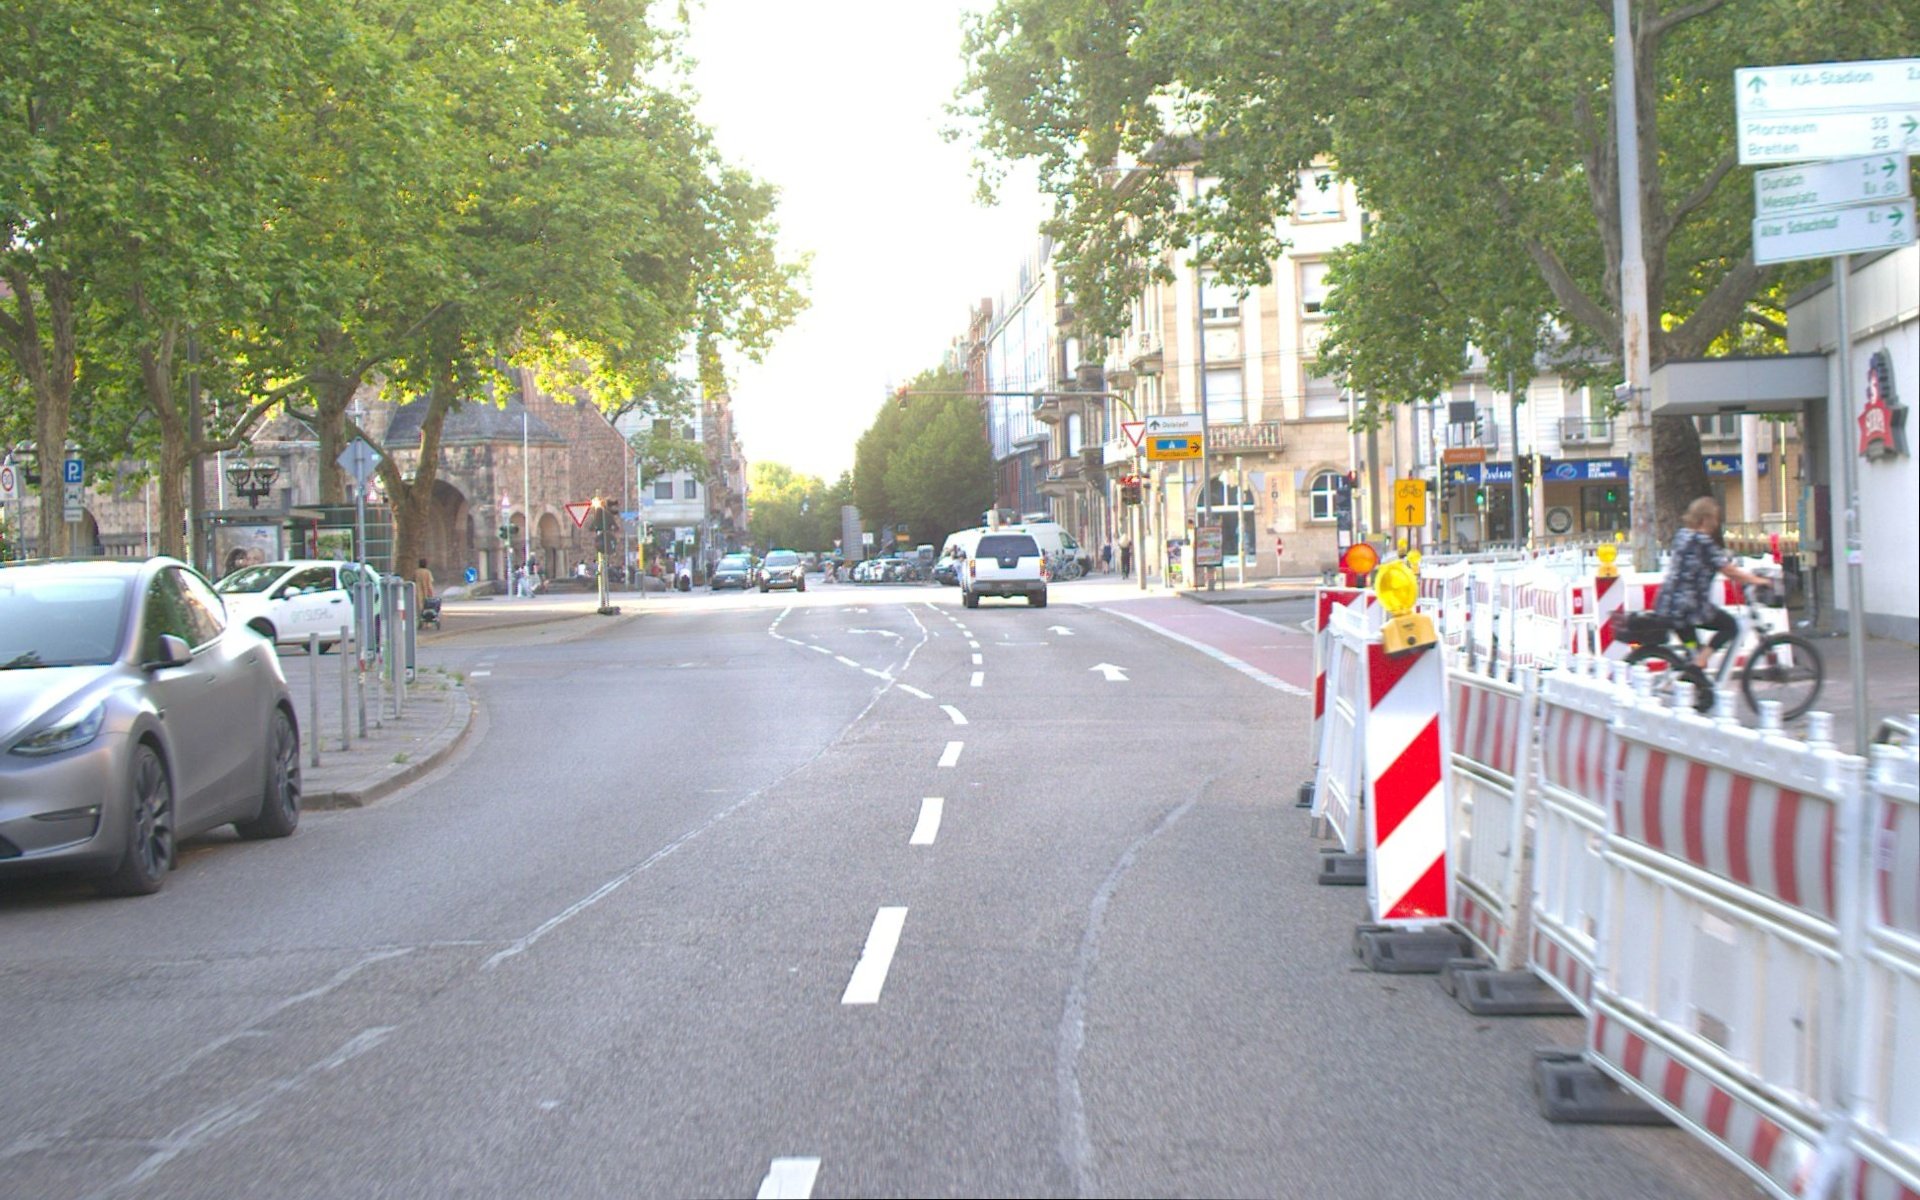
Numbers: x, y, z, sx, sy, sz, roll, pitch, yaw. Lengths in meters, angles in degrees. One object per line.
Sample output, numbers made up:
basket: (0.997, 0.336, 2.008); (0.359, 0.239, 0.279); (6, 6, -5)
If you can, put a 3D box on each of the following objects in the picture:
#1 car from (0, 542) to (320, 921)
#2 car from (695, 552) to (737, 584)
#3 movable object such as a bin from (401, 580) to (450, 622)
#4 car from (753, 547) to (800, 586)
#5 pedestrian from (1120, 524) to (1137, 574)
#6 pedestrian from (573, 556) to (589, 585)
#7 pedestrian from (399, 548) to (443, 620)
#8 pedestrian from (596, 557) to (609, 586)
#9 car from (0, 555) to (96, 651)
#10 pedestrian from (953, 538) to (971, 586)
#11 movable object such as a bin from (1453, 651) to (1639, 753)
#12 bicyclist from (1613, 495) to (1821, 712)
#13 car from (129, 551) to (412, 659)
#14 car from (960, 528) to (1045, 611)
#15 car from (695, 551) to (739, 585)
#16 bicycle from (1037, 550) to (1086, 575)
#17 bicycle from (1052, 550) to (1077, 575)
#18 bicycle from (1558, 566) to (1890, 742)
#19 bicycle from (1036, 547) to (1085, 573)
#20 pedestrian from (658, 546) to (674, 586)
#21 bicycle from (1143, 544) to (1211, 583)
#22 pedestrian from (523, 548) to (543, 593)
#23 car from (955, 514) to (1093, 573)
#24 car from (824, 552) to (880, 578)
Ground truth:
car: (-4.677, 0.576, 17.129); (1.953, 1.611, 4.605); (-4, 1, 1)
car: (-12.611, -1.667, 177.721); (1.993, 1.645, 3.822); (0, 1, -7)
movable object such as a bin: (-12.031, 0.022, 77.429); (0.738, 0.887, 0.982); (-1, 1, 13)
car: (-7.917, -1.428, 148.055); (1.781, 1.645, 3.822); (0, 1, -7)
pedestrian: (6.413, -1.943, 130.525); (0.593, 1.880, 0.647); (-2, 1, 4)
pedestrian: (-16.927, -1.328, 153.593); (0.573, 1.286, 0.486); (-1, 1, 13)
pedestrian: (-12.297, -0.366, 78.407); (0.738, 1.623, 0.685); (-1, 1, 13)
pedestrian: (-16.012, -1.281, 154.080); (0.491, 1.282, 0.499); (-2, 1, -2)
car: (-16.289, 0.083, 56.884); (1.820, 1.476, 4.628); (-1, 2, 15)
pedestrian: (0.084, -1.483, 134.788); (0.593, 1.880, 0.647); (-2, 1, 4)
movable object such as a bin: (4.443, 0.770, 26.101); (0.990, 0.686, 0.942); (-4, 0, -24)
bicyclist: (5.881, 0.031, 26.735); (1.142, 1.576, 0.942); (-4, 0, -24)
car: (-10.529, 0.060, 52.725); (1.997, 1.514, 3.993); (-1, 1, 33)
car: (0.976, -0.724, 80.883); (1.866, 1.808, 4.000); (-3, 1, 0)
car: (-12.037, -1.578, 169.993); (1.993, 1.645, 3.822); (0, 1, -7)
bicycle: (4.028, -1.493, 136.954); (1.915, 0.965, 0.546); (-2, 1, 0)
bicycle: (4.225, -1.520, 139.096); (0.544, 0.965, 1.920); (-1, 1, 15)
bicycle: (5.948, 0.414, 26.757); (2.351, 1.168, 0.942); (-5, 0, -24)
bicycle: (3.992, -1.605, 136.757); (1.915, 0.965, 0.546); (-2, 1, 0)
pedestrian: (-13.969, -1.612, 163.371); (0.593, 1.880, 0.585); (-1, 1, 13)
bicycle: (5.660, -0.947, 89.747); (1.691, 0.965, 0.546); (-2, 1, -5)
pedestrian: (-17.953, -1.229, 144.431); (0.594, 1.880, 0.553); (-1, 1, 23)
car: (2.702, -2.373, 143.224); (5.807, 2.280, 2.071); (-3, 1, -41)
car: (-7.885, -2.543, 250.807); (3.986, 1.809, 2.000); (-2, 1, -4)
